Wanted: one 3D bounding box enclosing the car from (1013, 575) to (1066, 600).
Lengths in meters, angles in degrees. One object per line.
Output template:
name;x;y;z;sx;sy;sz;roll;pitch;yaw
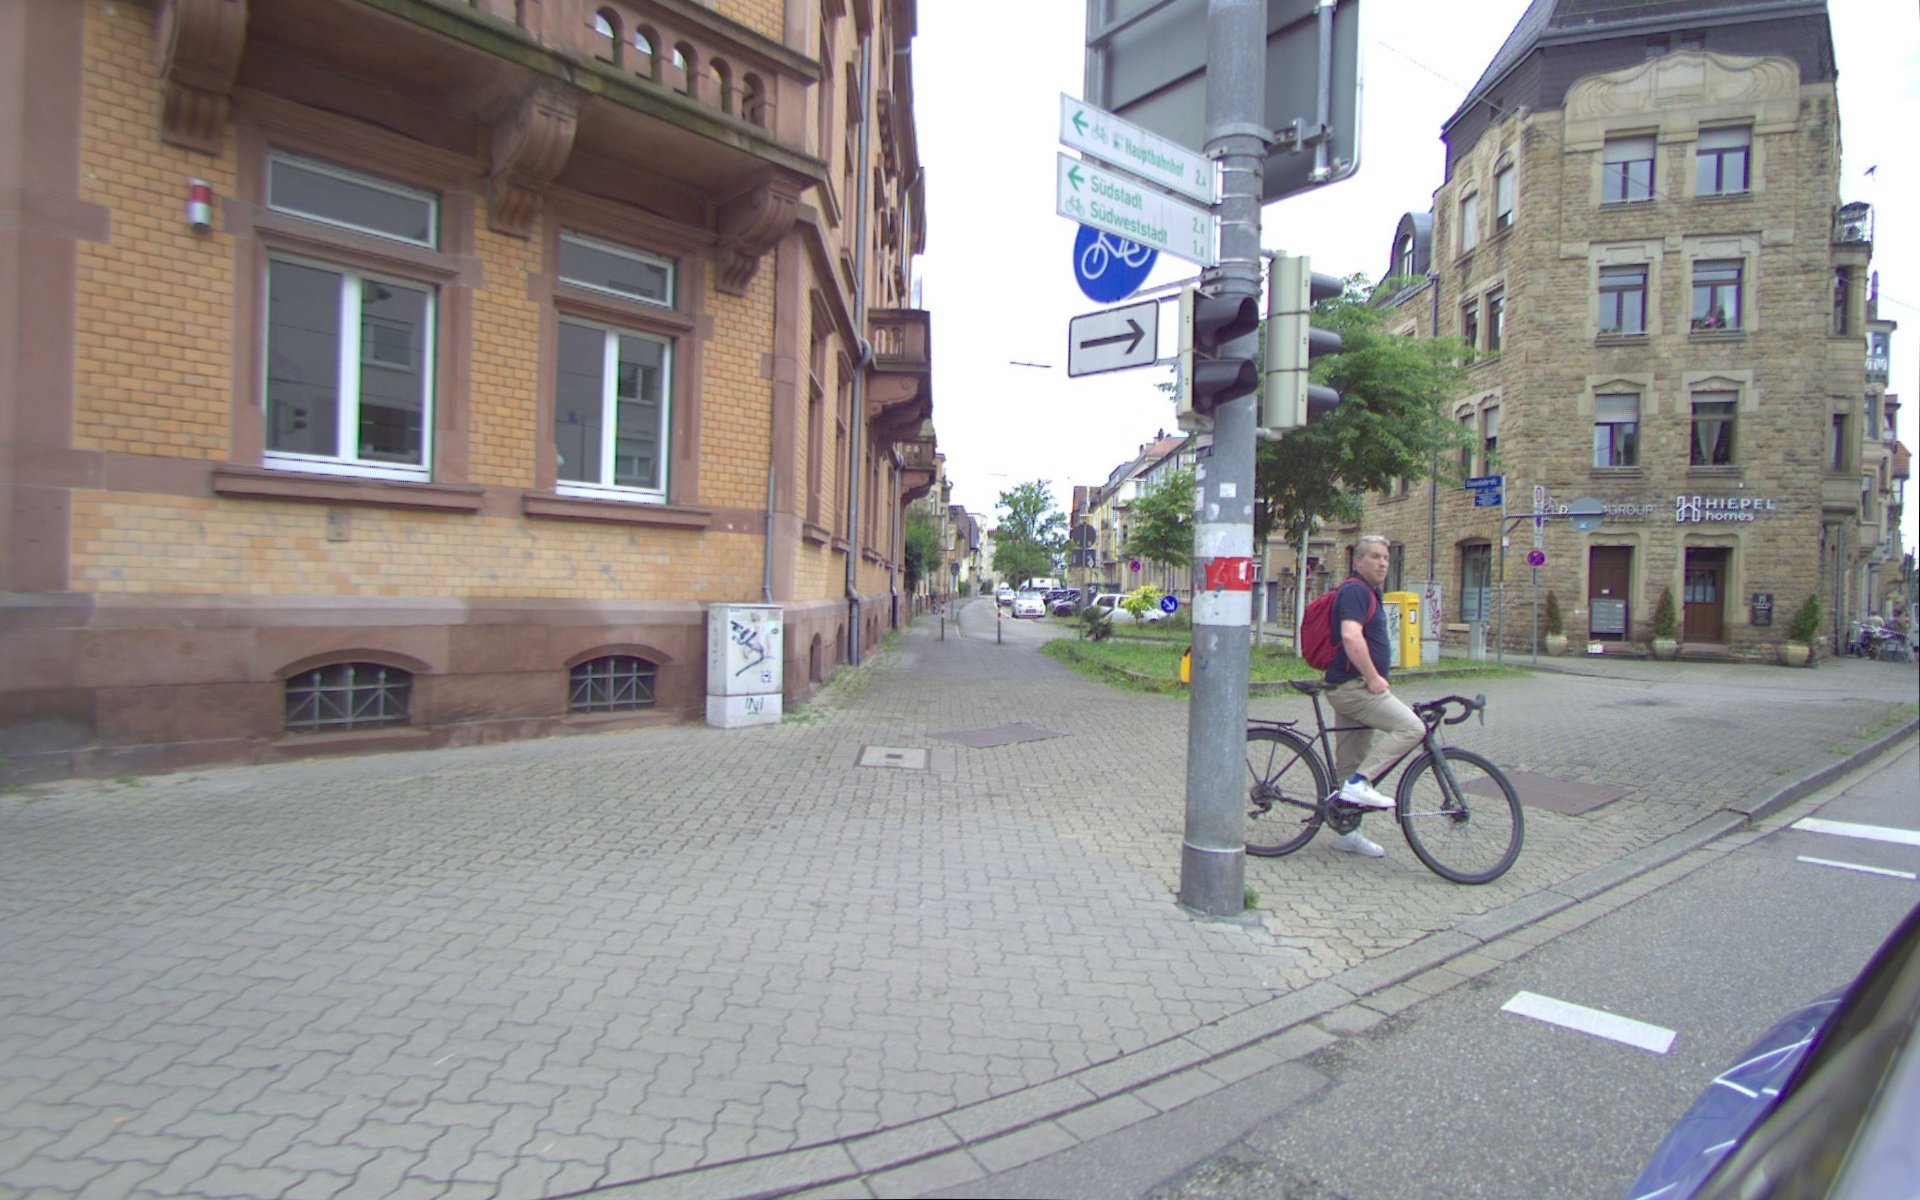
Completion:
car;8.666;-1.355;110.737;5.298;2.534;2.316;3;1;38

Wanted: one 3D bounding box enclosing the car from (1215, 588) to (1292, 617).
car;17.212;0.143;59.459;3.972;1.451;1.753;3;1;5

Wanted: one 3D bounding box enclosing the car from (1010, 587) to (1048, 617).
car;3.793;0.101;56.110;1.722;1.451;4.045;3;1;-1

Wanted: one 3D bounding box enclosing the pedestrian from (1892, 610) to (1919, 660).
pedestrian;34.022;1.259;36.232;0.695;1.720;0.490;4;2;17

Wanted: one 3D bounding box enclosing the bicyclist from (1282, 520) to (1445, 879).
bicyclist;2.217;0.501;5.658;0.671;1.818;0.887;1;0;13

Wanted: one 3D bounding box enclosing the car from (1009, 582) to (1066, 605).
car;7.747;-0.637;101.626;5.298;2.048;2.316;3;1;38

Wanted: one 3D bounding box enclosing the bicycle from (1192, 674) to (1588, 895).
bicycle;2.221;0.937;5.500;1.840;0.935;0.793;2;0;13

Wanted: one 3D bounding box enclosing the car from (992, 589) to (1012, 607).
car;3.839;-0.235;92.771;1.723;1.451;4.042;3;1;2

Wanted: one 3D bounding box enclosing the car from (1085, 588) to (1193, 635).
car;6.620;0.403;37.407;3.518;1.451;1.687;4;2;33

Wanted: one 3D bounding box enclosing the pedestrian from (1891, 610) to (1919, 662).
pedestrian;32.743;1.252;34.800;0.858;1.720;0.532;4;2;31

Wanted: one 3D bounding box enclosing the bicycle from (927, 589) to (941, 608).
bicycle;-1.423;-0.097;54.811;0.559;1.015;1.777;2;1;4

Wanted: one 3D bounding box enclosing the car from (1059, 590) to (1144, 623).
car;7.355;0.327;52.729;4.011;1.451;1.736;4;2;30
